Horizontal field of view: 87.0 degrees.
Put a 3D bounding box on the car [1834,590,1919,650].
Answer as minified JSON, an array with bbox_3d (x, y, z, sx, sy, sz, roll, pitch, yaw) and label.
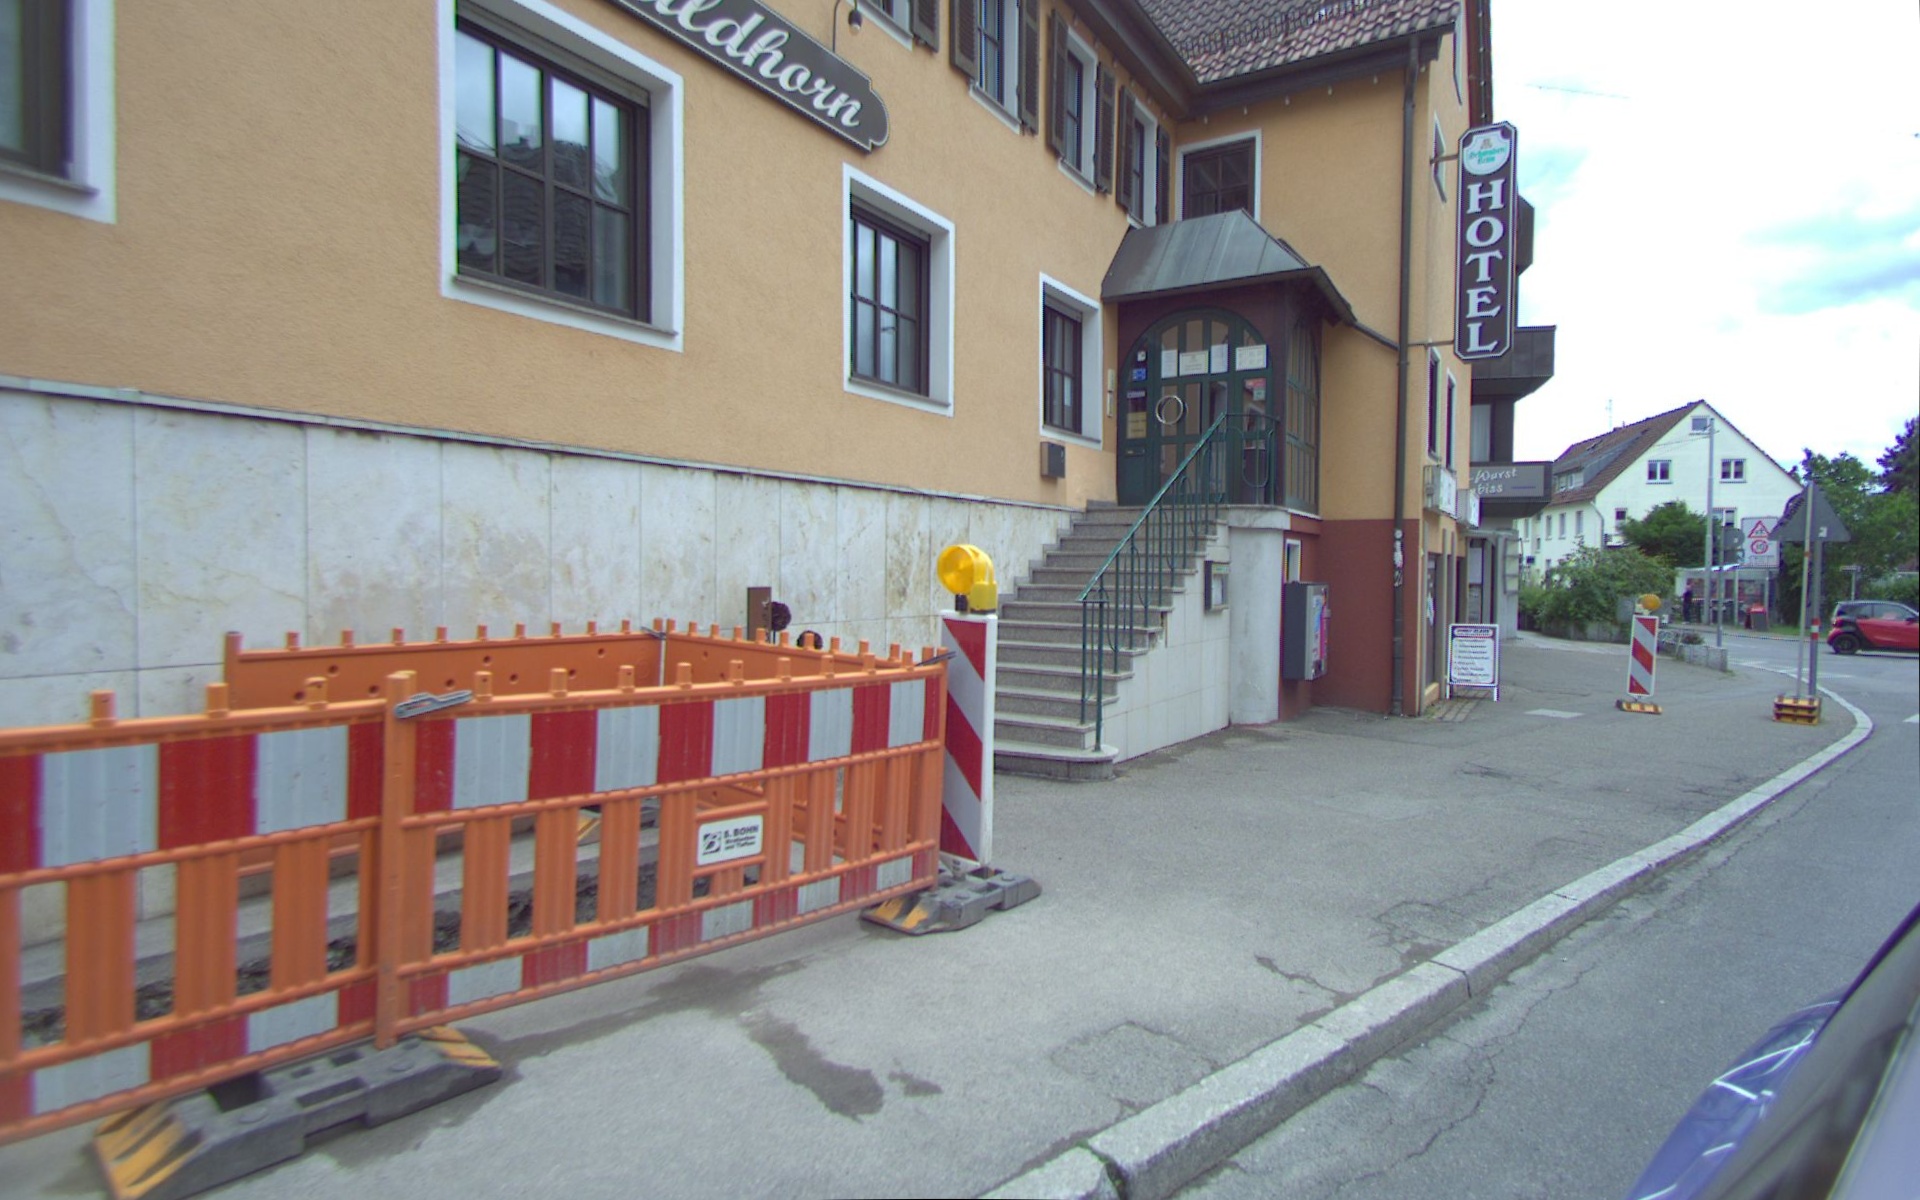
[{"bbox_3d":[26.235,0.558,28.051,2.927,1.539,1.794,3,2,40],"label":"car"}]
